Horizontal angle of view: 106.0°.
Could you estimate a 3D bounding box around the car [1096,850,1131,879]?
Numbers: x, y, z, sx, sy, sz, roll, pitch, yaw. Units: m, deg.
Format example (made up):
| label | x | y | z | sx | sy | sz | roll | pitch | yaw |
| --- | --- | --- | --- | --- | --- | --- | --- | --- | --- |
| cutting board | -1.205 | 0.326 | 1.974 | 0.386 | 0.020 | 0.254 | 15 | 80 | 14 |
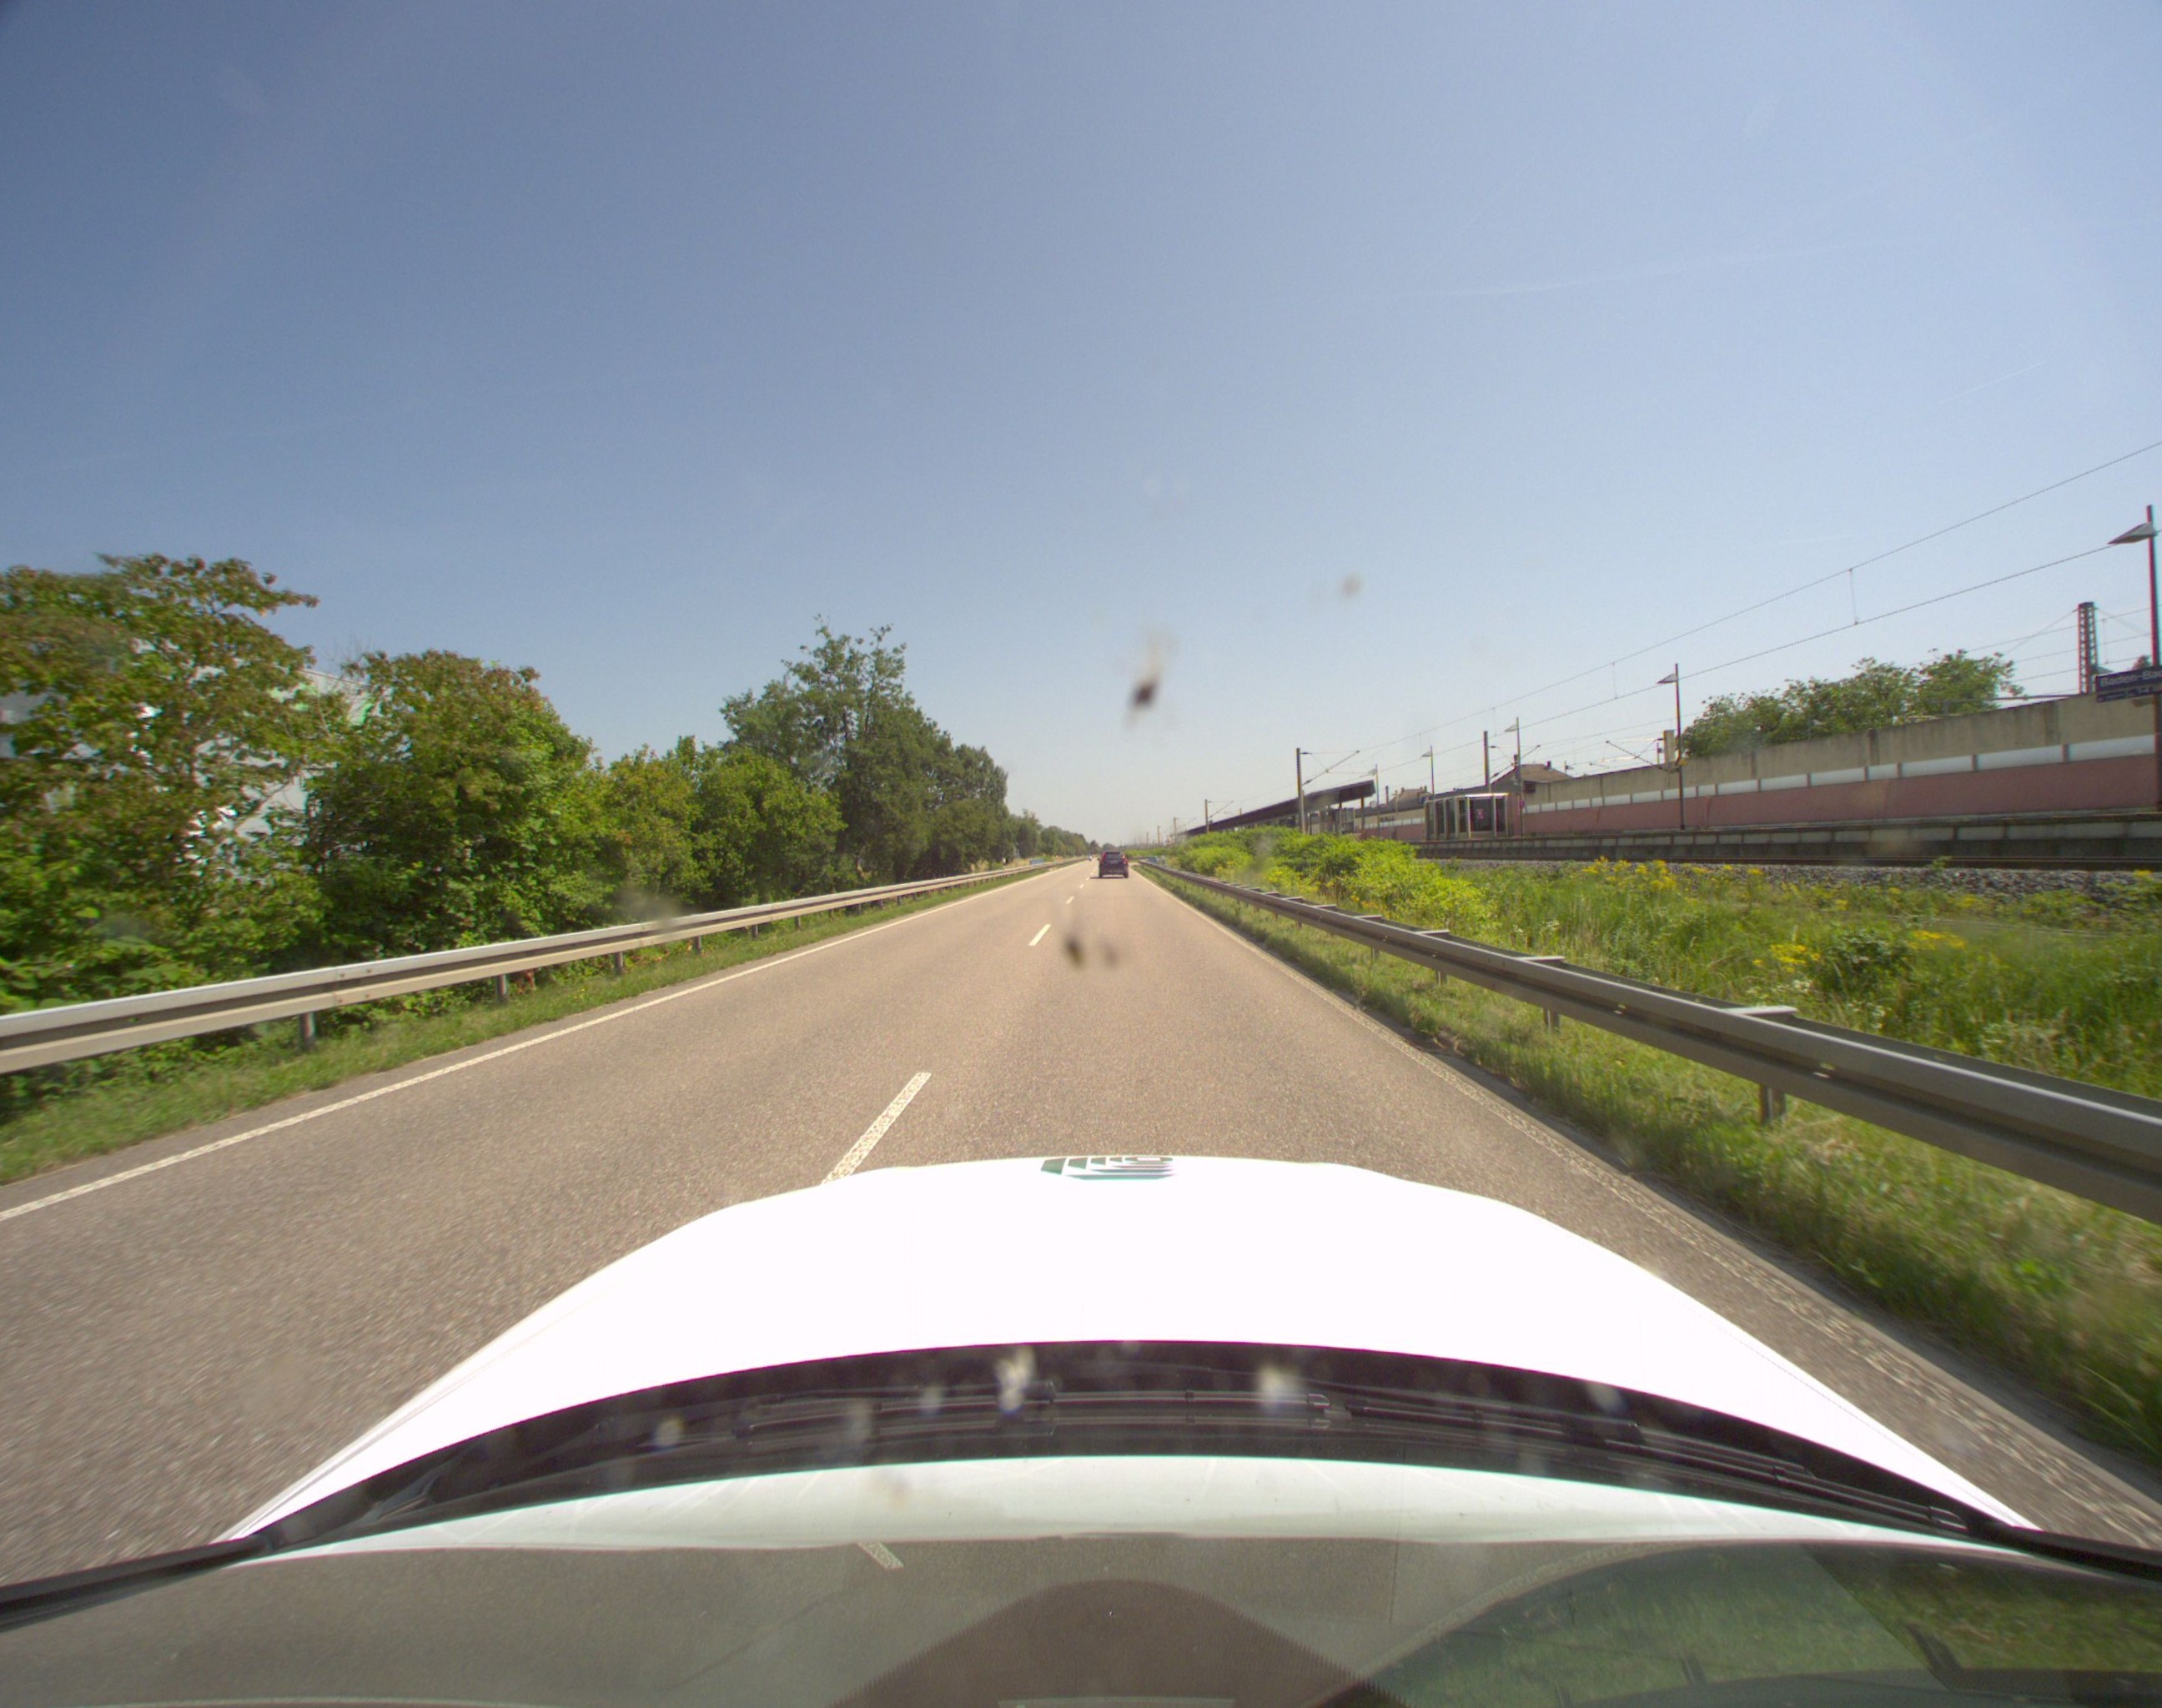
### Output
| label | x | y | z | sx | sy | sz | roll | pitch | yaw |
| --- | --- | --- | --- | --- | --- | --- | --- | --- | --- |
| car | 2.052 | 0.656 | 52.305 | 1.987 | 1.700 | 3.999 | -1 | 0 | -1 |
